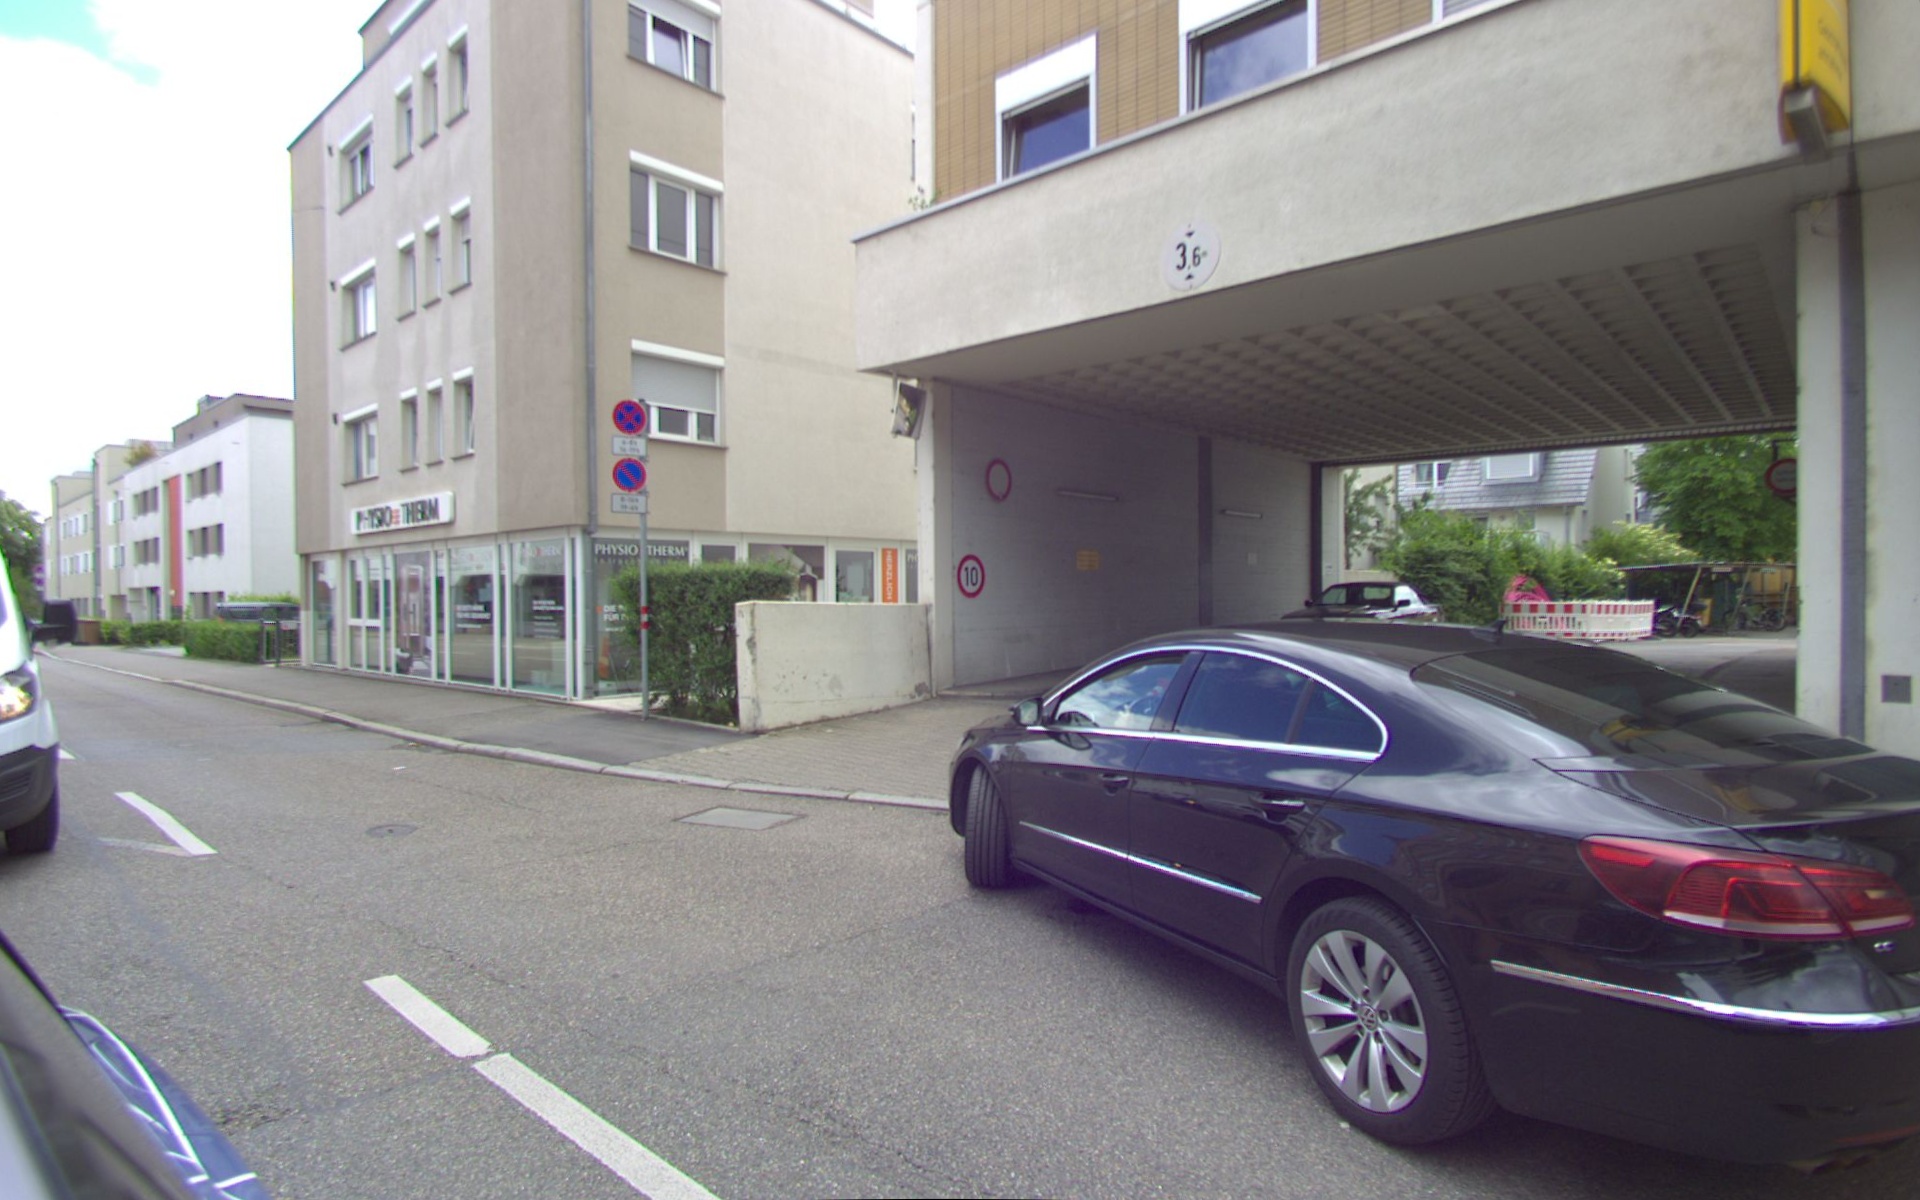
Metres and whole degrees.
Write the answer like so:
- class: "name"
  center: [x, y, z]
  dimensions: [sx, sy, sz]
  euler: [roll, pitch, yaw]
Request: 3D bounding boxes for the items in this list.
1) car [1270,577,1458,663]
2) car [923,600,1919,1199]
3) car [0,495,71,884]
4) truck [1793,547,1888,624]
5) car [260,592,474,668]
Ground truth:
- class: "car"
  center: [7.185, 0.285, 17.745]
  dimensions: [1.624, 1.333, 4.391]
  euler: [0, 0, 42]
- class: "car"
  center: [1.420, 0.741, 4.021]
  dimensions: [1.628, 1.409, 4.469]
  euler: [-2, 1, -23]
- class: "car"
  center: [-7.337, 0.491, 6.374]
  dimensions: [5.084, 2.013, 1.940]
  euler: [-1, 0, 41]
- class: "truck"
  center: [34.630, -0.621, 39.729]
  dimensions: [7.185, 2.772, 2.002]
  euler: [-2, 1, -43]
- class: "car"
  center: [-17.026, 0.787, 29.246]
  dimensions: [1.967, 2.013, 5.014]
  euler: [-1, 0, 44]
